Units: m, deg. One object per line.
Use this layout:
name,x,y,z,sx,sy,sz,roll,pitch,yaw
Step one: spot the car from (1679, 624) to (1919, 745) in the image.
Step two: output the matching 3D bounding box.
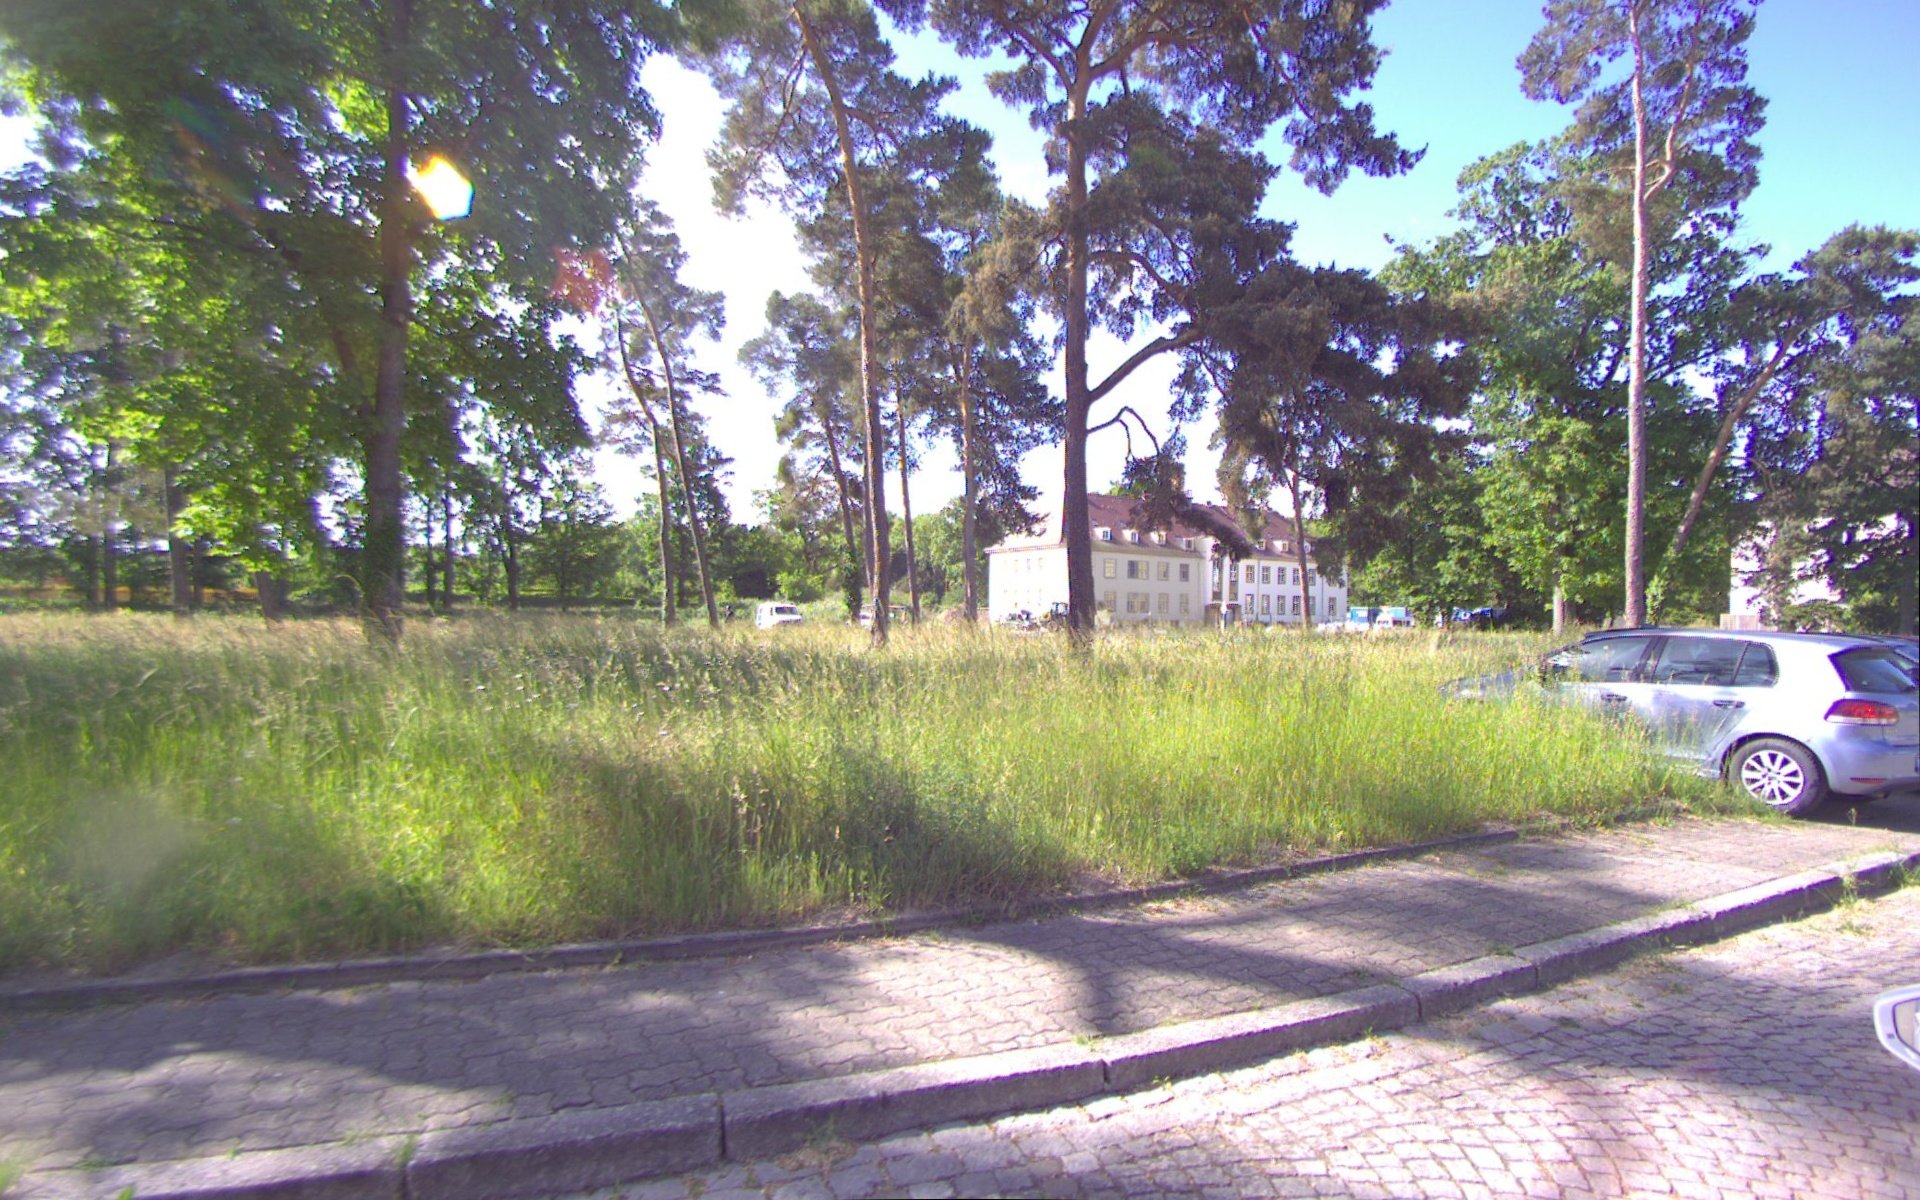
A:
car,13.040,1.160,13.746,1.915,1.440,4.844,2,0,-28

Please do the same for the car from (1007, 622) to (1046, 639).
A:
car,7.413,3.383,112.468,1.980,1.879,4.087,2,-2,-41

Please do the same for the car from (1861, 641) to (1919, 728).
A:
car,15.405,1.312,14.171,1.738,1.250,3.616,2,0,-28

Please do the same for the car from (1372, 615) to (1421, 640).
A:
car,45.461,2.894,104.551,5.212,2.469,1.976,2,-1,-29

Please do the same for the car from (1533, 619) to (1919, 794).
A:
car,8.980,1.044,10.745,1.963,1.471,4.555,2,0,-32

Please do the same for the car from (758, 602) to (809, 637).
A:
car,-11.576,1.289,65.676,1.932,2.193,4.827,1,-1,-28

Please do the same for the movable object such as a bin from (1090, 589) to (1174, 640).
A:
movable object such as a bin,13.648,1.189,79.175,3.868,3.780,6.767,0,-1,37

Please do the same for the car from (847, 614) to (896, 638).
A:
car,-6.095,1.764,69.092,1.888,1.626,4.212,1,-1,-28

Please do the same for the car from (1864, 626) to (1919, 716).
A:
car,17.402,1.250,16.022,1.799,1.471,4.060,2,0,-28

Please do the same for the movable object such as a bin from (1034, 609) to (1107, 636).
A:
movable object such as a bin,9.075,1.832,82.519,5.566,2.153,2.529,1,-1,17

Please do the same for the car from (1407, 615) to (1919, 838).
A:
car,6.661,0.968,9.593,1.926,1.503,4.006,1,1,-30

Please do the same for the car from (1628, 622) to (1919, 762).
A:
car,11.241,1.109,12.209,1.915,1.440,4.844,2,0,-28
